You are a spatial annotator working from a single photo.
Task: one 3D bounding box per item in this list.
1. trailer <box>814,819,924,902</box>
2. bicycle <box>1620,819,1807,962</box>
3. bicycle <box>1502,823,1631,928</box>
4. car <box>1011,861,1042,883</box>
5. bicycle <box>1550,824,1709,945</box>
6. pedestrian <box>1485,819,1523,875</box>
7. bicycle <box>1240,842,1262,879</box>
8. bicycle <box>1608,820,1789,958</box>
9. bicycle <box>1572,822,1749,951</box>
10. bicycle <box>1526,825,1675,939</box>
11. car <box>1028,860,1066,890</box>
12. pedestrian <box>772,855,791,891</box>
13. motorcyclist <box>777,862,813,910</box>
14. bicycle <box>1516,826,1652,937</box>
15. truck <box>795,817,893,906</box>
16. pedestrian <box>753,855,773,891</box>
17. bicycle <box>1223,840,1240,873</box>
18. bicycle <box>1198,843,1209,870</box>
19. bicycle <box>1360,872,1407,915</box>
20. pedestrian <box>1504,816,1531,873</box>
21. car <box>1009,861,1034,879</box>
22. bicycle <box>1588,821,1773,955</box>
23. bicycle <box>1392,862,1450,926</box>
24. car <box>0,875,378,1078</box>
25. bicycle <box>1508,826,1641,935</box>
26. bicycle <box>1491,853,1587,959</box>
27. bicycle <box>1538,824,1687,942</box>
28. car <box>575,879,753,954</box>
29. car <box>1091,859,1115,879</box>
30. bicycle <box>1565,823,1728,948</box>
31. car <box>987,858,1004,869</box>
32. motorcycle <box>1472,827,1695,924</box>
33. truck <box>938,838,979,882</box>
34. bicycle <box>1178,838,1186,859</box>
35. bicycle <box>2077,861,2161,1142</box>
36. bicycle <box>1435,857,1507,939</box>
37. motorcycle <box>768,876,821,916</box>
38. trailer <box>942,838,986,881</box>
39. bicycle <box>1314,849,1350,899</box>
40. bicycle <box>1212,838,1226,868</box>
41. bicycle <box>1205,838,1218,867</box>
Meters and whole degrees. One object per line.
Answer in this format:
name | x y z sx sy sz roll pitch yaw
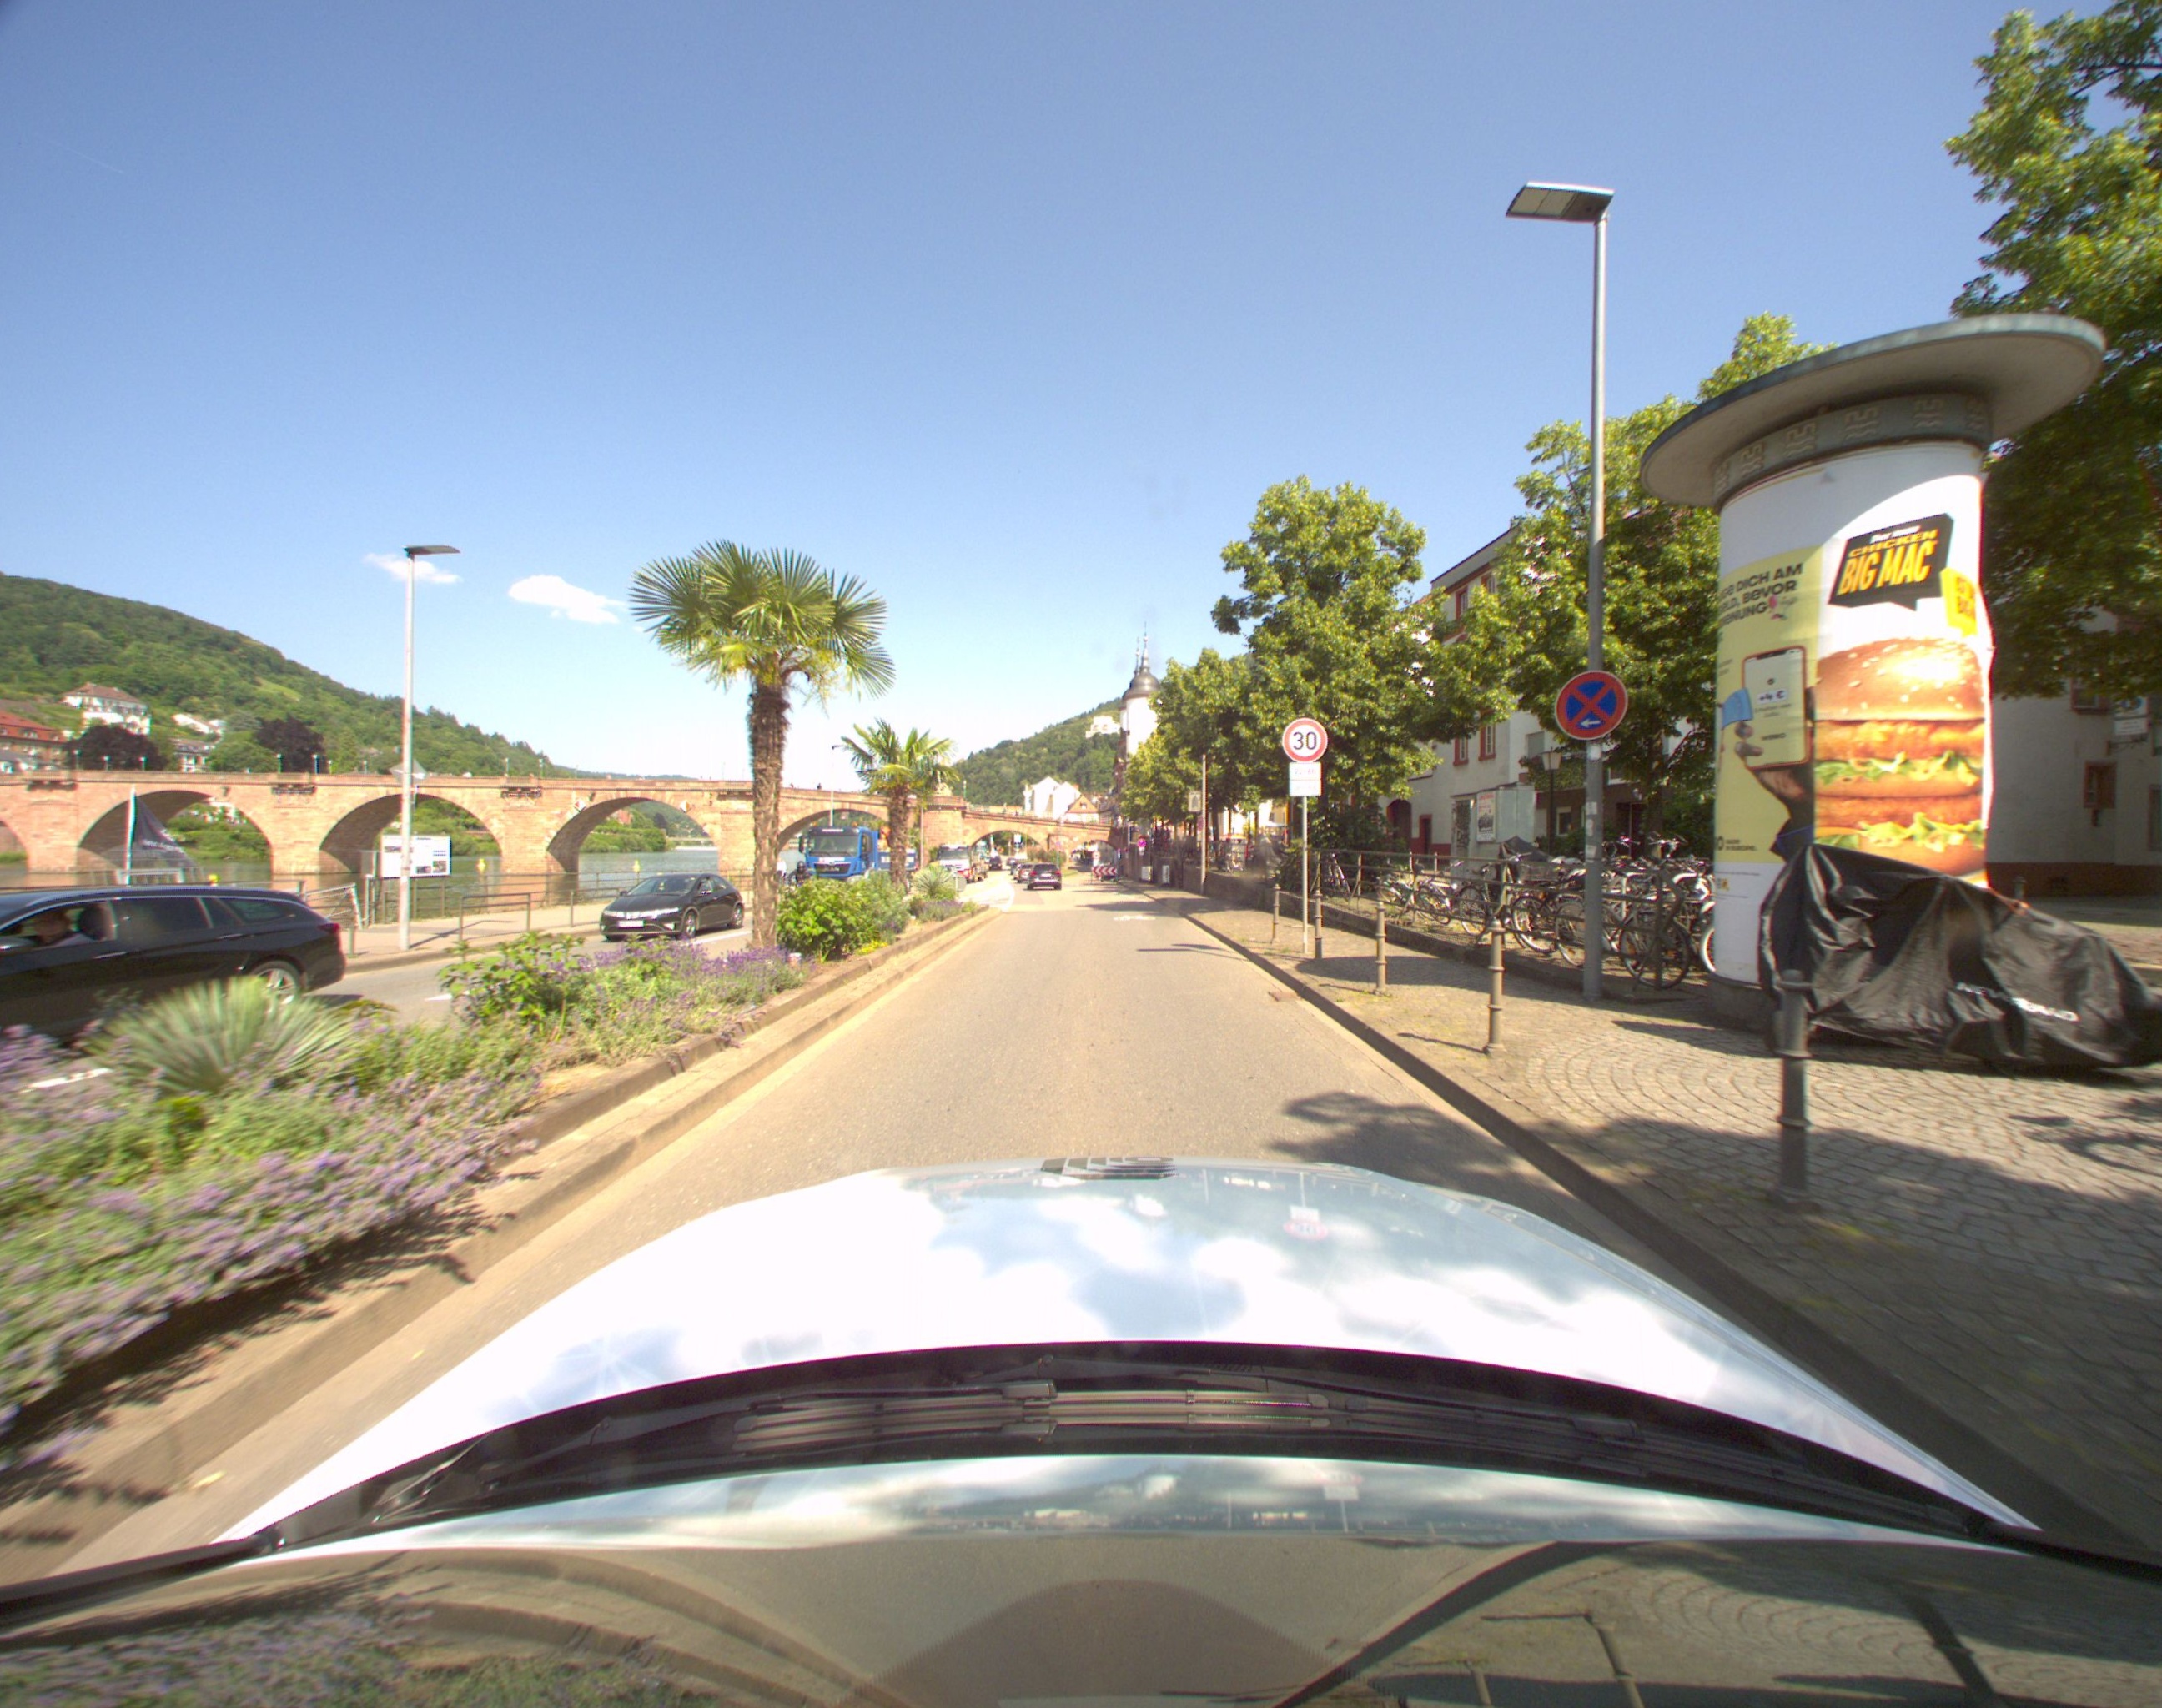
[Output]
trailer | -9.576 0.252 37.913 2.648 3.403 8.828 0 0 1
bicycle | 6.754 0.381 8.711 1.821 1.483 0.269 0 0 -2
bicycle | 6.938 0.303 11.647 1.701 1.483 0.269 0 0 -2
car | -4.181 1.374 62.924 1.987 1.553 4.833 0 1 1
bicycle | 6.857 0.370 10.190 1.824 1.483 0.285 0 0 -2
pedestrian | 14.629 -0.250 28.186 0.965 1.915 0.747 0 0 1
bicycle | 5.152 0.195 24.757 0.344 1.096 1.488 2 0 0
bicycle | 6.791 0.379 8.971 1.821 1.483 0.269 0 0 -2
bicycle | 6.815 0.375 9.598 1.920 1.483 0.281 0 0 -2
bicycle | 6.867 0.365 10.785 1.821 1.483 0.269 0 0 -2
car | -1.885 1.141 46.024 1.920 1.553 4.831 -1 0 0
pedestrian | -15.016 0.961 40.819 0.761 1.780 0.694 0 0 -7
motorcyclist | -9.194 1.018 26.226 0.732 1.470 1.012 0 0 3
bicycle | 6.830 0.363 11.072 1.717 1.483 0.269 0 0 -2
truck | -9.644 0.277 33.609 2.648 3.403 4.450 0 0 1
pedestrian | -15.914 0.931 40.719 0.761 1.780 0.694 0 0 -7
bicycle | 5.227 0.089 28.328 0.274 1.096 1.488 -4 0 0
bicycle | 5.223 0.103 34.750 0.249 1.096 1.488 2 0 0
bicycle | 5.222 0.663 14.099 0.249 0.664 1.468 0 0 -1
pedestrian | 15.711 -0.342 29.291 0.633 2.013 0.644 0 0 -1
car | -5.593 1.459 77.156 1.987 1.553 4.833 0 1 1
bicycle | 6.832 0.377 9.296 1.920 1.483 0.311 0 0 -2
bicycle | 5.212 0.581 12.545 0.249 0.904 1.488 0 0 -1
car | -9.262 1.021 7.161 1.812 1.455 4.928 -2 0 0
bicycle | 6.871 0.360 11.353 1.701 1.483 0.269 0 0 -2
bicycle | 5.249 0.553 9.416 0.249 1.120 1.488 0 0 -1
bicycle | 6.864 0.367 10.527 1.769 1.483 0.269 0 0 -2
car | -9.376 1.334 18.767 1.947 1.413 4.216 -2 -1 -1
car | 1.915 1.271 69.737 1.711 1.596 3.901 0 0 6
bicycle | 6.852 0.372 9.888 1.821 1.483 0.269 0 0 -2
car | -12.572 1.353 119.879 1.987 1.553 4.833 0 1 1
motorcycle | 7.633 0.309 12.557 2.810 1.398 0.830 0 0 19
truck | -9.747 0.444 65.158 2.651 3.403 5.131 0 0 -2
bicycle | 5.359 -0.299 43.372 0.354 1.096 1.491 2 0 6
bicycle | 5.070 0.596 3.486 1.482 1.132 0.250 0 0 -6
bicycle | 5.214 0.557 10.956 0.249 1.010 1.488 0 0 -1
motorcycle | -9.186 1.322 26.200 0.754 1.131 2.457 0 0 2
trailer | -9.897 0.406 70.008 2.651 3.403 10.161 0 0 -2
bicycle | 5.264 0.405 17.145 0.249 1.000 1.488 2 0 -1
bicycle | 5.217 -0.034 30.733 0.249 1.096 1.488 2 0 0
bicycle | 5.231 -0.061 32.661 0.249 1.096 1.488 2 0 0
